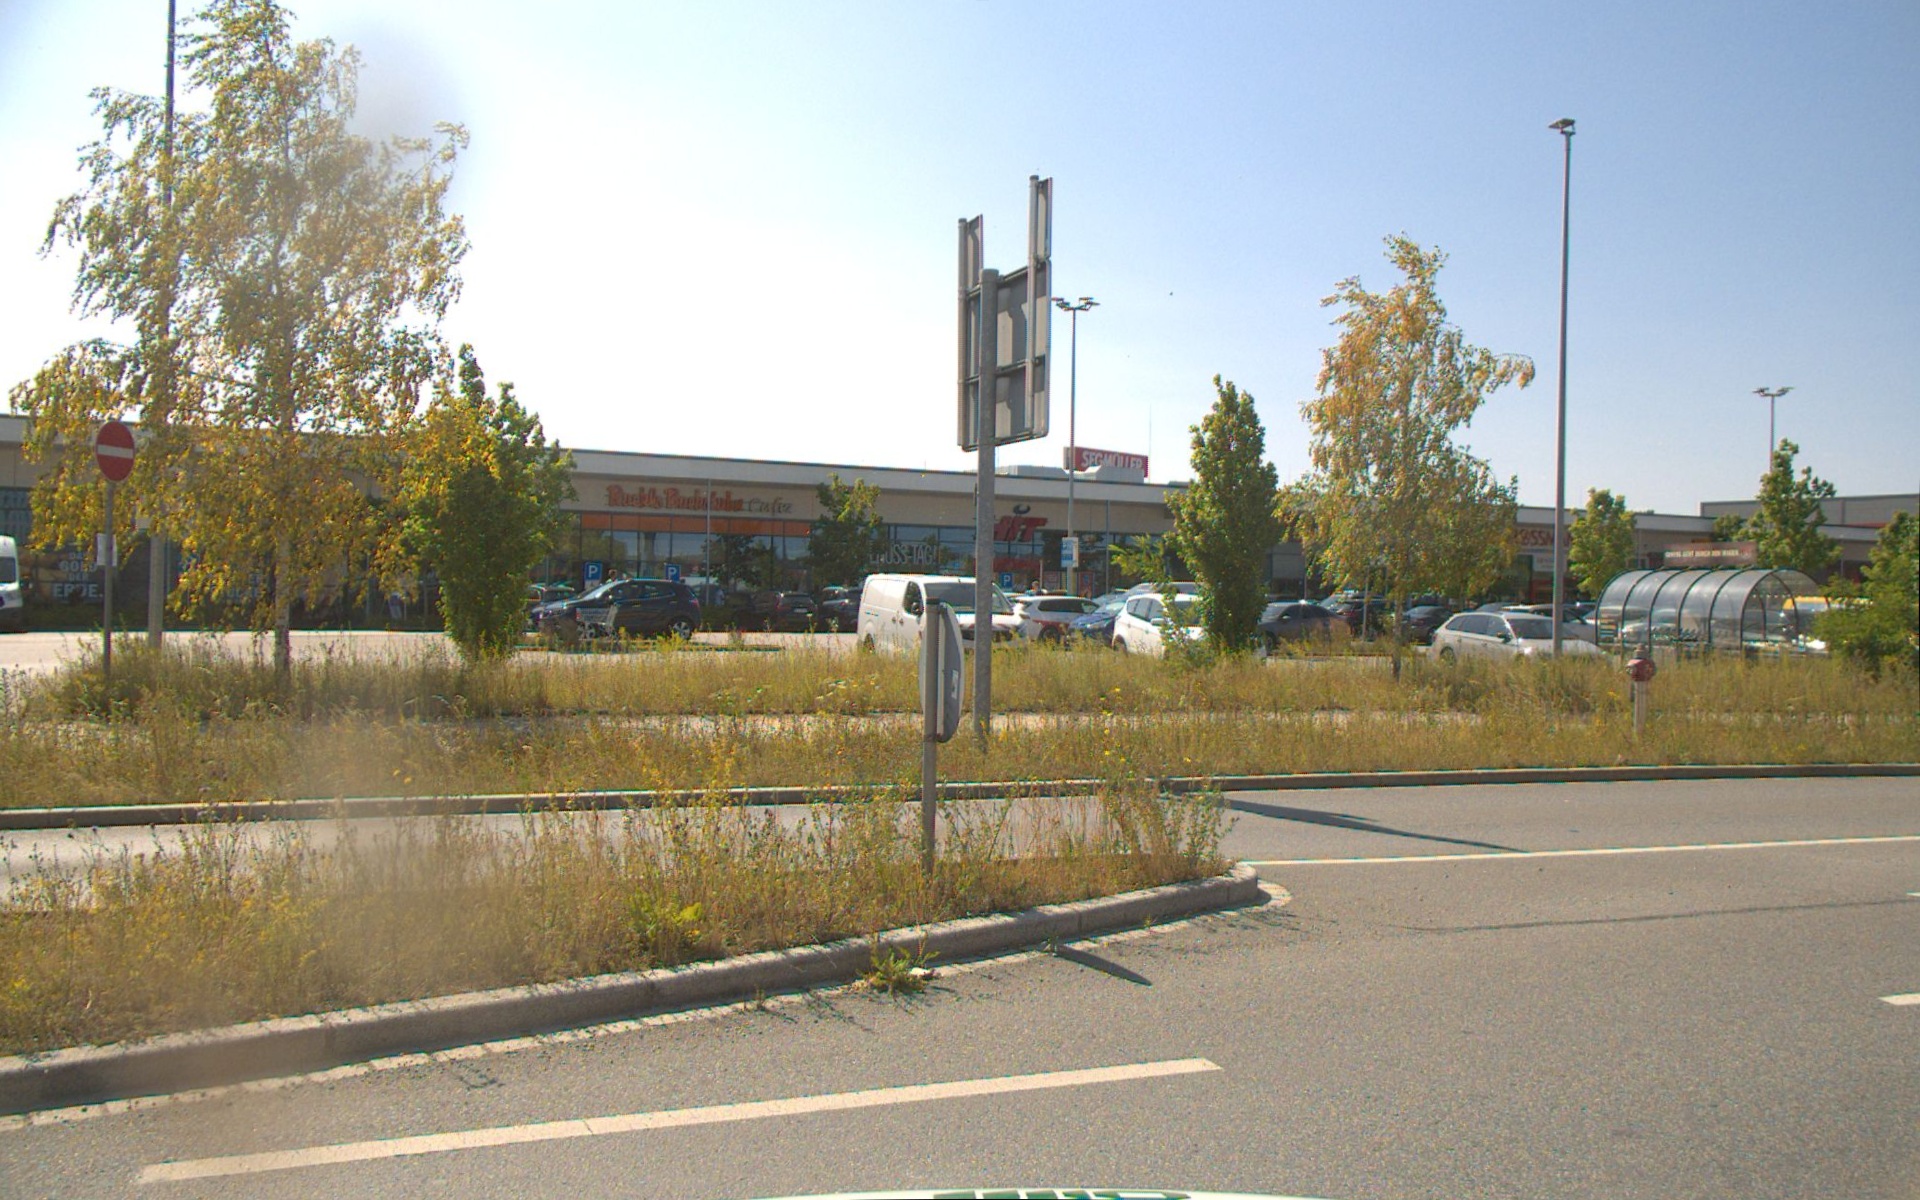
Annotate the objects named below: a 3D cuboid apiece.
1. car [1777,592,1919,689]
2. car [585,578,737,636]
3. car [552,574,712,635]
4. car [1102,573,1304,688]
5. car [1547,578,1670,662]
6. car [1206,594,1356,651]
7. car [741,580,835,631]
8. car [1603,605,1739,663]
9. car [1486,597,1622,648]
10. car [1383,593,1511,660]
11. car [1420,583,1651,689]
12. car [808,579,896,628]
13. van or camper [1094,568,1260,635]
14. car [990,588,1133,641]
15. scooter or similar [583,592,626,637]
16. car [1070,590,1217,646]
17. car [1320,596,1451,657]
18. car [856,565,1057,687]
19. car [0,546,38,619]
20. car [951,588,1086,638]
[{"bbox_3d":[21.156,0.869,37.435,2.119,2.049,5.102,1,0,-11],"label":"car"},{"bbox_3d":[-9.478,0.220,52.467,4.415,1.736,1.859,1,0,-26],"label":"car"},{"bbox_3d":[-8.517,0.110,43.014,3.751,1.535,1.716,1,0,-29],"label":"car"},{"bbox_3d":[4.622,0.529,32.399,2.121,2.049,5.097,1,0,-14],"label":"car"},{"bbox_3d":[23.137,0.727,58.976,4.431,2.871,1.976,1,-1,-35],"label":"car"},{"bbox_3d":[9.199,0.648,47.336,3.940,1.534,1.858,1,0,-27],"label":"car"},{"bbox_3d":[-6.222,0.166,59.494,1.972,1.737,3.961,1,1,-29],"label":"car"},{"bbox_3d":[24.235,1.173,56.390,4.420,1.896,1.981,1,0,-29],"label":"car"},{"bbox_3d":[19.161,0.720,53.298,4.284,1.546,1.641,1,0,-27],"label":"car"},{"bbox_3d":[17.033,0.925,57.786,4.431,2.230,1.976,1,-1,-35],"label":"car"},{"bbox_3d":[11.945,0.680,34.759,2.121,2.049,5.097,1,0,-14],"label":"car"},{"bbox_3d":[-4.013,0.104,61.001,1.968,1.737,3.969,1,1,-25],"label":"car"},{"bbox_3d":[6.852,0.047,52.176,4.974,2.049,1.983,1,0,-27],"label":"van or camper"},{"bbox_3d":[2.830,0.401,46.044,3.683,1.415,1.713,1,0,-32],"label":"car"},{"bbox_3d":[-8.803,0.357,40.979,0.931,1.098,0.647,1,0,-24],"label":"scooter or similar"},{"bbox_3d":[4.917,0.472,44.211,3.683,1.415,1.713,1,0,-32],"label":"car"},{"bbox_3d":[15.570,0.955,60.498,4.412,2.139,1.985,1,0,-25],"label":"car"},{"bbox_3d":[-0.192,0.424,30.585,2.050,2.049,5.197,1,0,-20],"label":"car"},{"bbox_3d":[-28.076,-0.524,47.792,2.201,2.011,6.623,0,1,-32],"label":"car"},{"bbox_3d":[1.745,0.375,48.871,3.683,1.415,1.713,1,0,-32],"label":"car"}]
